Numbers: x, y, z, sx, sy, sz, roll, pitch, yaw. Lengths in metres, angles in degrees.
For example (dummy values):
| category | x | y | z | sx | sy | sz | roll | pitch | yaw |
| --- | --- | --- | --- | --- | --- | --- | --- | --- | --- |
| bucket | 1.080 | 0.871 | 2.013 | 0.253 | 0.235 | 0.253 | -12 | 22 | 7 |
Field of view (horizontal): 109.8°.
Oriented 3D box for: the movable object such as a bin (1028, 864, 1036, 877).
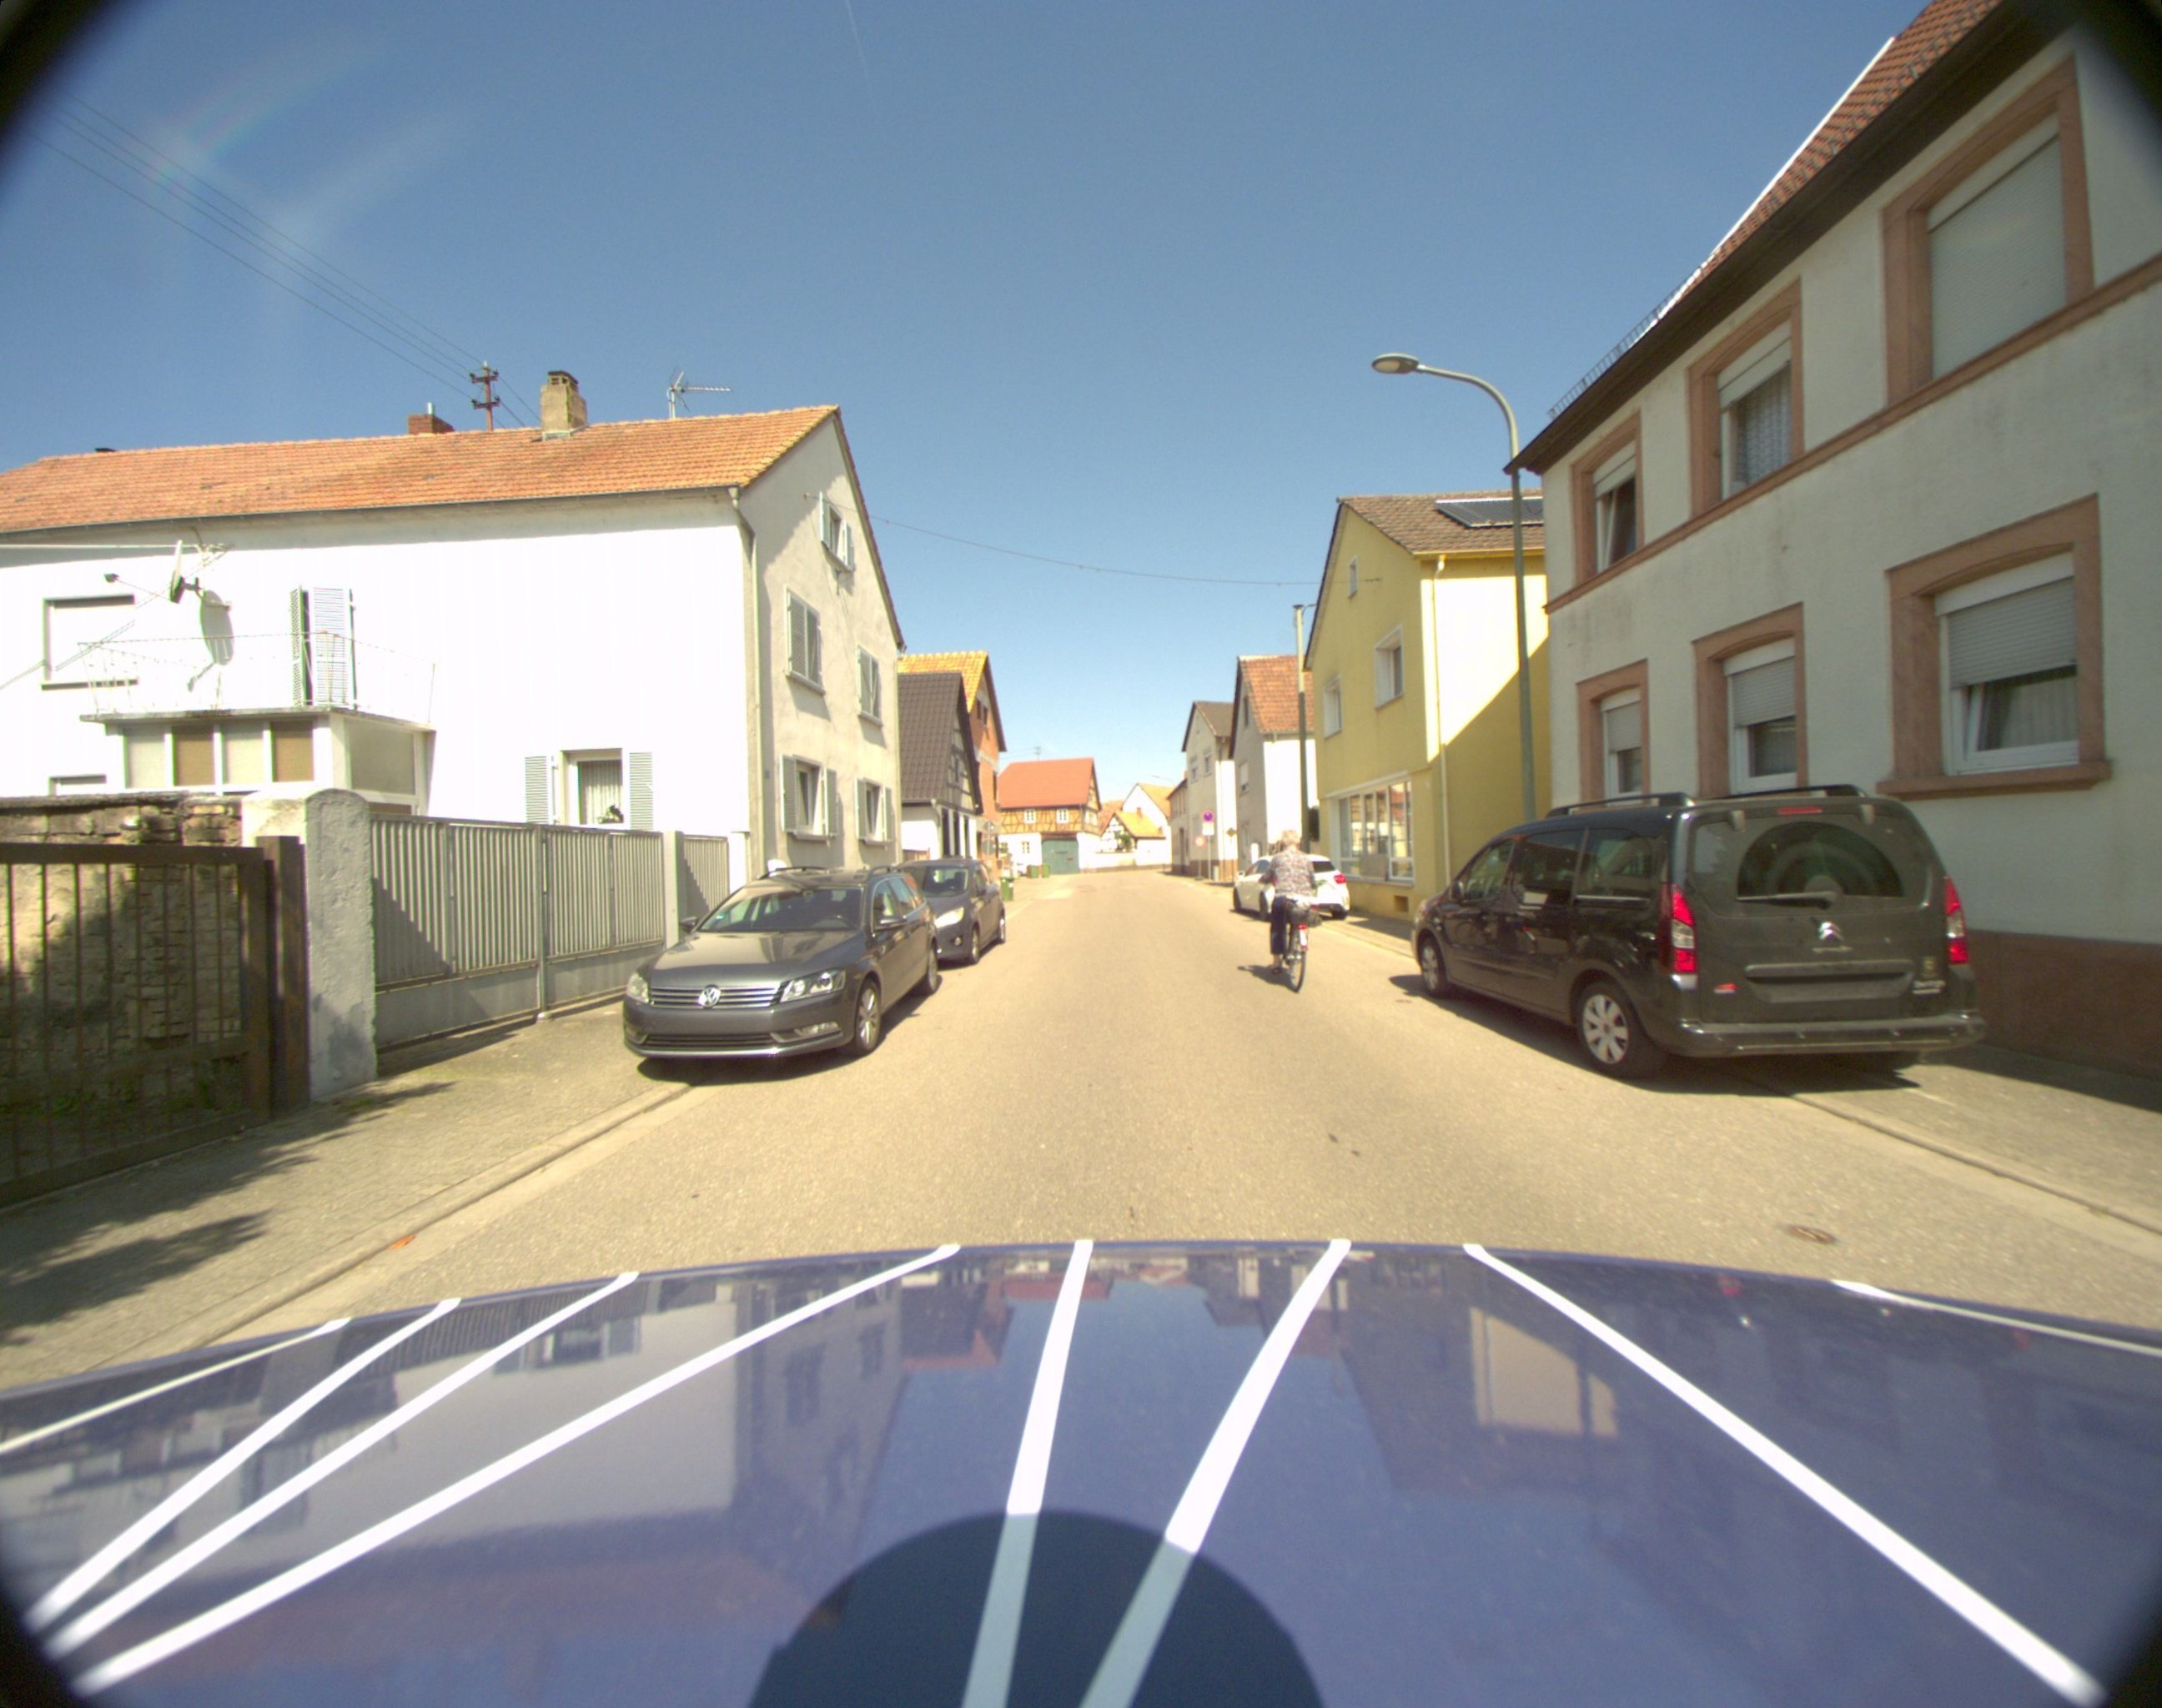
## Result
| category | x | y | z | sx | sy | sz | roll | pitch | yaw |
| --- | --- | --- | --- | --- | --- | --- | --- | --- | --- |
| movable object such as a bin | -3.750 | 1.231 | 58.170 | 0.465 | 0.965 | 0.496 | -2 | 0 | 9 |

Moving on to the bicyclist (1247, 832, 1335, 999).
| category | x | y | z | sx | sy | sz | roll | pitch | yaw |
| --- | --- | --- | --- | --- | --- | --- | --- | --- | --- |
| bicyclist | 2.335 | 0.661 | 8.505 | 0.705 | 1.760 | 0.625 | -3 | 1 | -1 |

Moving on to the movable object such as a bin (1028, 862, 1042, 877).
| category | x | y | z | sx | sy | sz | roll | pitch | yaw |
| --- | --- | --- | --- | --- | --- | --- | --- | --- | --- |
| movable object such as a bin | -3.444 | 1.175 | 56.865 | 0.763 | 1.066 | 0.671 | -2 | 0 | -30 |

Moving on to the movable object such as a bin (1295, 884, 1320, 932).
| category | x | y | z | sx | sy | sz | roll | pitch | yaw |
| --- | --- | --- | --- | --- | --- | --- | --- | --- | --- |
| movable object such as a bin | 4.535 | 1.074 | 15.187 | 0.425 | 0.899 | 0.497 | -2 | 1 | 20 |

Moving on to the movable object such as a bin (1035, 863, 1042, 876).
| category | x | y | z | sx | sy | sz | roll | pitch | yaw |
| --- | --- | --- | --- | --- | --- | --- | --- | --- | --- |
| movable object such as a bin | -3.253 | 1.209 | 58.197 | 0.445 | 0.944 | 0.463 | -2 | 1 | 10 |

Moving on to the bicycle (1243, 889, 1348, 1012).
| category | x | y | z | sx | sy | sz | roll | pitch | yaw |
| --- | --- | --- | --- | --- | --- | --- | --- | --- | --- |
| bicycle | 2.364 | 1.011 | 8.609 | 0.591 | 1.141 | 1.948 | -1 | 0 | -1 |

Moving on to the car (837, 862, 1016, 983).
| category | x | y | z | sx | sy | sz | roll | pitch | yaw |
| --- | --- | --- | --- | --- | --- | --- | --- | --- | --- |
| car | -2.330 | 0.968 | 12.753 | 1.802 | 1.551 | 4.632 | -2 | 0 | 3 |

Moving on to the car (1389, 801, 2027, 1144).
| category | x | y | z | sx | sy | sz | roll | pitch | yaw |
| --- | --- | --- | --- | --- | --- | --- | --- | --- | --- |
| car | 4.296 | 0.652 | 6.329 | 1.839 | 1.827 | 4.354 | -2 | 0 | 3 |

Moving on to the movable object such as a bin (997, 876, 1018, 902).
| category | x | y | z | sx | sy | sz | roll | pitch | yaw |
| --- | --- | --- | --- | --- | --- | --- | --- | --- | --- |
| movable object such as a bin | -2.688 | 1.271 | 27.727 | 0.538 | 0.908 | 0.552 | -2 | 1 | 19 |

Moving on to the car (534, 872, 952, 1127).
| category | x | y | z | sx | sy | sz | roll | pitch | yaw |
| --- | --- | --- | --- | --- | --- | --- | --- | --- | --- |
| car | -2.606 | 1.011 | 7.265 | 1.824 | 1.499 | 4.582 | -2 | 0 | 1 |

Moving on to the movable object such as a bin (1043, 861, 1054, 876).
| category | x | y | z | sx | sy | sz | roll | pitch | yaw |
| --- | --- | --- | --- | --- | --- | --- | --- | --- | --- |
| movable object such as a bin | -2.523 | 1.117 | 58.901 | 0.688 | 1.085 | 0.638 | -2 | 0 | 10 |

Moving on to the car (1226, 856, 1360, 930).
| category | x | y | z | sx | sy | sz | roll | pitch | yaw |
| --- | --- | --- | --- | --- | --- | --- | --- | --- | --- |
| car | 4.735 | 0.804 | 17.674 | 1.839 | 1.455 | 4.270 | -1 | 0 | -1 |

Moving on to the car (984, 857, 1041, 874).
| category | x | y | z | sx | sy | sz | roll | pitch | yaw |
| --- | --- | --- | --- | --- | --- | --- | --- | --- | --- |
| car | -6.304 | 1.052 | 70.108 | 4.759 | 1.443 | 2.002 | -2 | 0 | 13 |
